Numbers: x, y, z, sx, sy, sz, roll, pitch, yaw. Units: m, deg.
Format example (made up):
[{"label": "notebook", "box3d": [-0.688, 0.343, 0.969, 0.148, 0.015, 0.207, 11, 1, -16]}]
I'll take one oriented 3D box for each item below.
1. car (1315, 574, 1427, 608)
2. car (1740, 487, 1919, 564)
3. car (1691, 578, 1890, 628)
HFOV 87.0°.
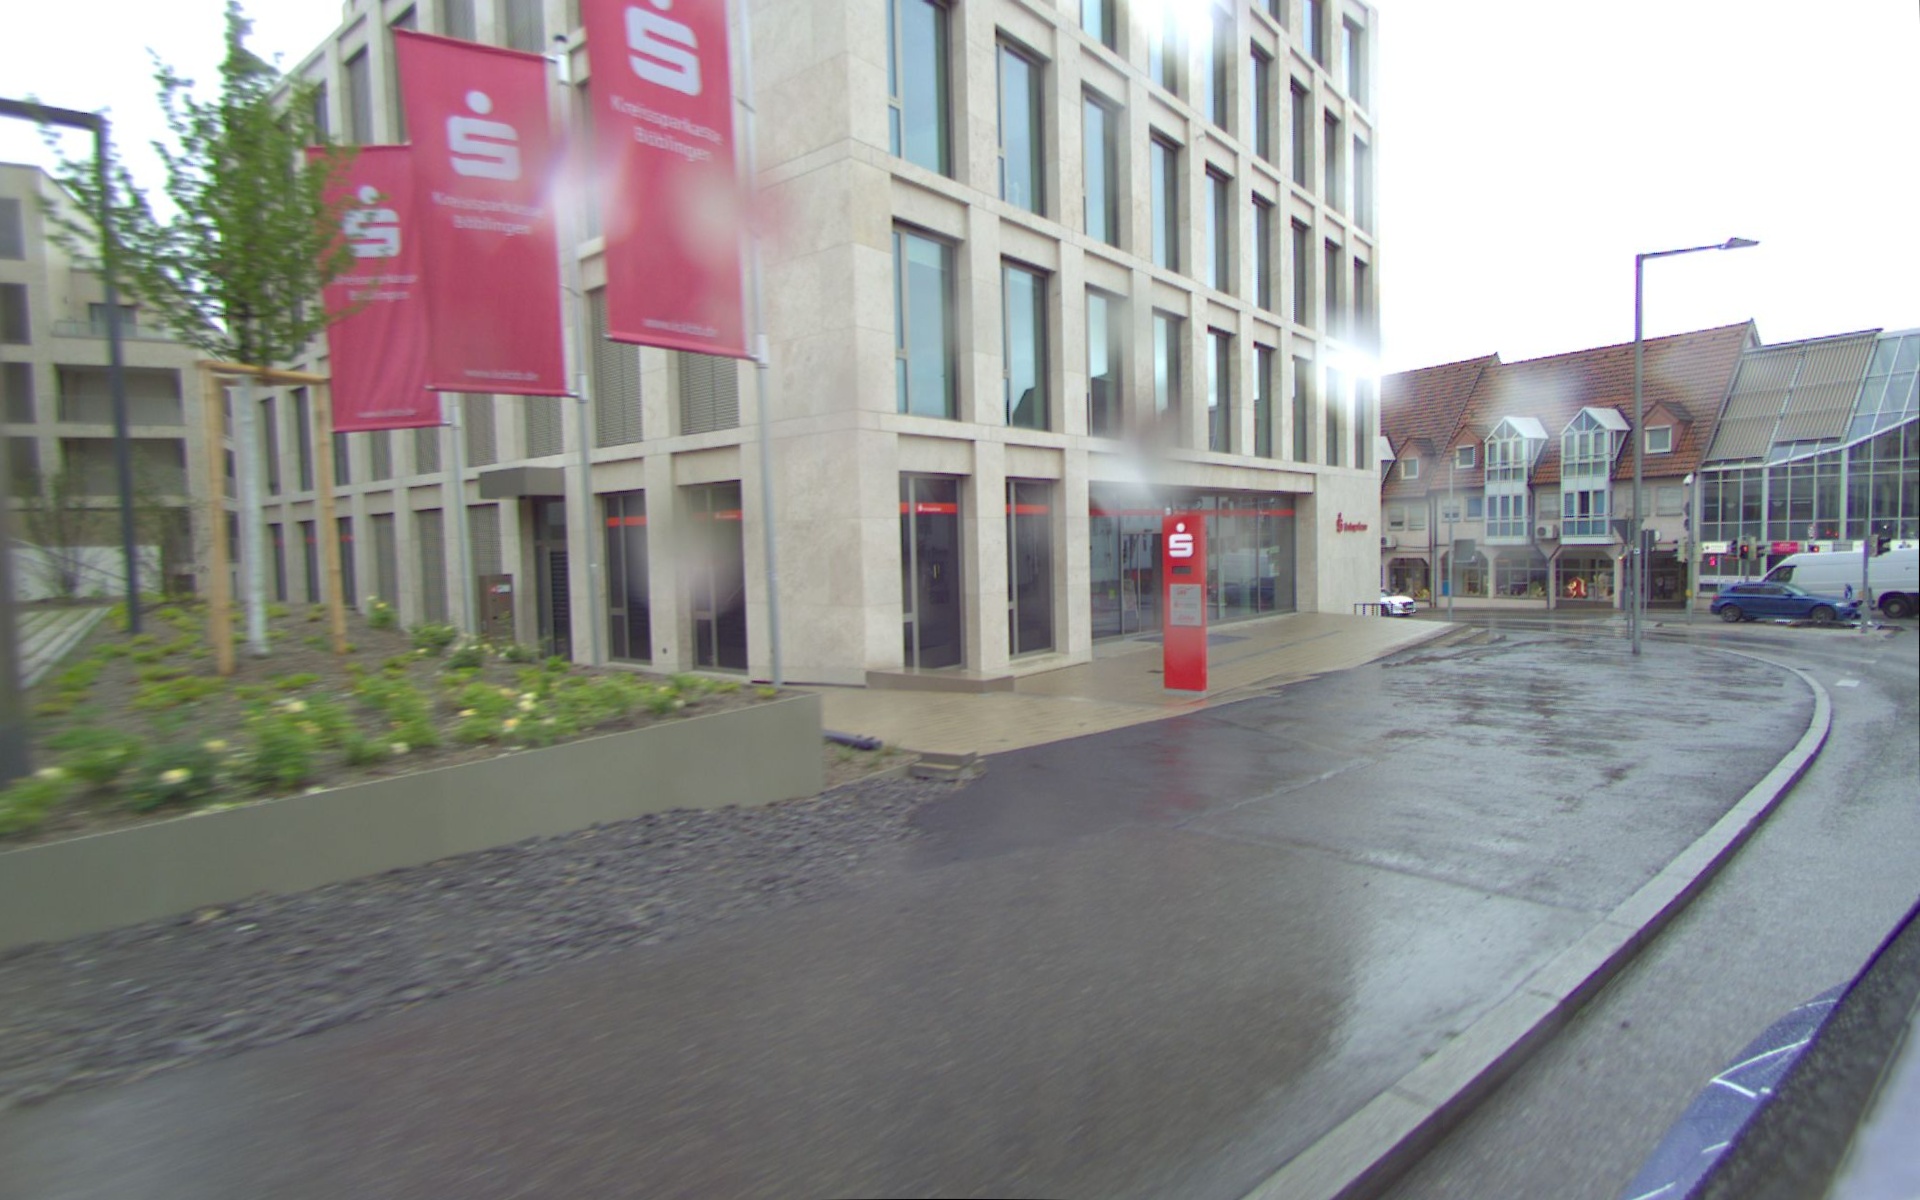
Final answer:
[{"label": "car", "box3d": [20.279, -0.498, 50.157, 1.960, 1.564, 5.040, 0, 2, -29]}, {"label": "car", "box3d": [33.779, -2.722, 38.230, 1.962, 2.722, 6.515, -1, 2, -35]}, {"label": "car", "box3d": [29.015, 0.037, 35.566, 1.960, 1.564, 5.038, -1, 2, -31]}]
